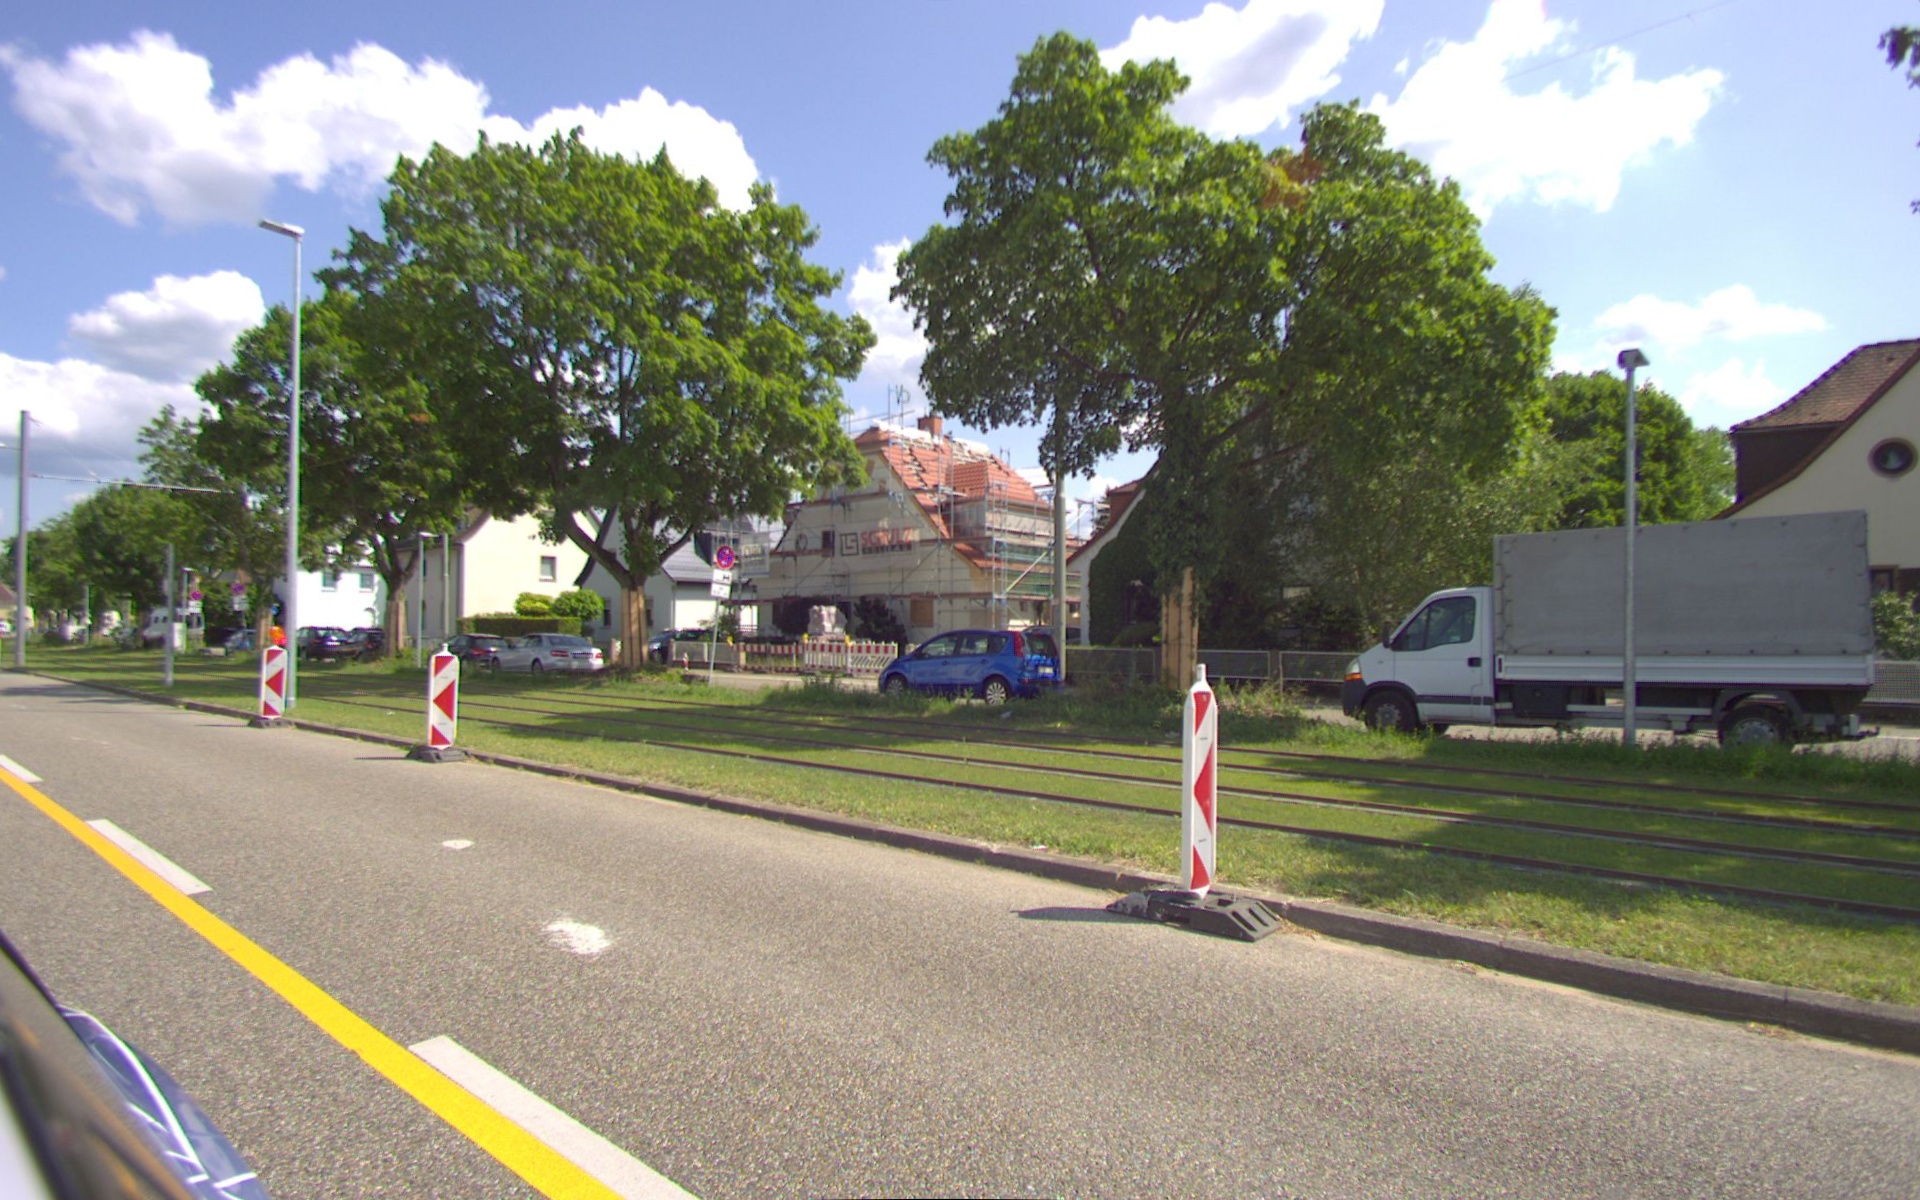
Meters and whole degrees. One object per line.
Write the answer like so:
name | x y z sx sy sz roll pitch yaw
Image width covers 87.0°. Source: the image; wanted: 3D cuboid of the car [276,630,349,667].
car | -29.498 2.226 46.068 4.403 1.584 1.680 -3 -3 41

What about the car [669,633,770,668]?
car | -10.930 2.294 46.205 1.702 1.497 4.345 -3 -3 41

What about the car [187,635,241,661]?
car | -44.481 2.877 60.323 4.403 1.497 1.680 -3 -3 41

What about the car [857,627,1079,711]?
car | 0.062 1.353 20.274 4.403 1.497 1.680 -3 -3 41

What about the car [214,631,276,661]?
car | -37.498 2.430 53.043 4.403 1.497 1.680 -3 -3 41

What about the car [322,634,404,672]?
car | -25.183 2.255 42.645 4.403 1.497 1.680 -3 -3 41

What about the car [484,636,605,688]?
car | -13.131 1.934 31.858 4.520 1.497 1.765 -4 -3 42

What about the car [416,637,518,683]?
car | -17.524 2.120 35.887 4.403 1.497 1.680 -3 -3 41

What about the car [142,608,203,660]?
car | -49.520 2.164 63.599 5.080 3.061 2.108 -3 -3 41

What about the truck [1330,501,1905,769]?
truck | 8.296 0.455 13.397 5.971 2.802 2.242 -2 -3 41

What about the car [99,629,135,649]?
car | -69.110 3.210 82.913 4.404 1.497 1.679 -4 -3 42
